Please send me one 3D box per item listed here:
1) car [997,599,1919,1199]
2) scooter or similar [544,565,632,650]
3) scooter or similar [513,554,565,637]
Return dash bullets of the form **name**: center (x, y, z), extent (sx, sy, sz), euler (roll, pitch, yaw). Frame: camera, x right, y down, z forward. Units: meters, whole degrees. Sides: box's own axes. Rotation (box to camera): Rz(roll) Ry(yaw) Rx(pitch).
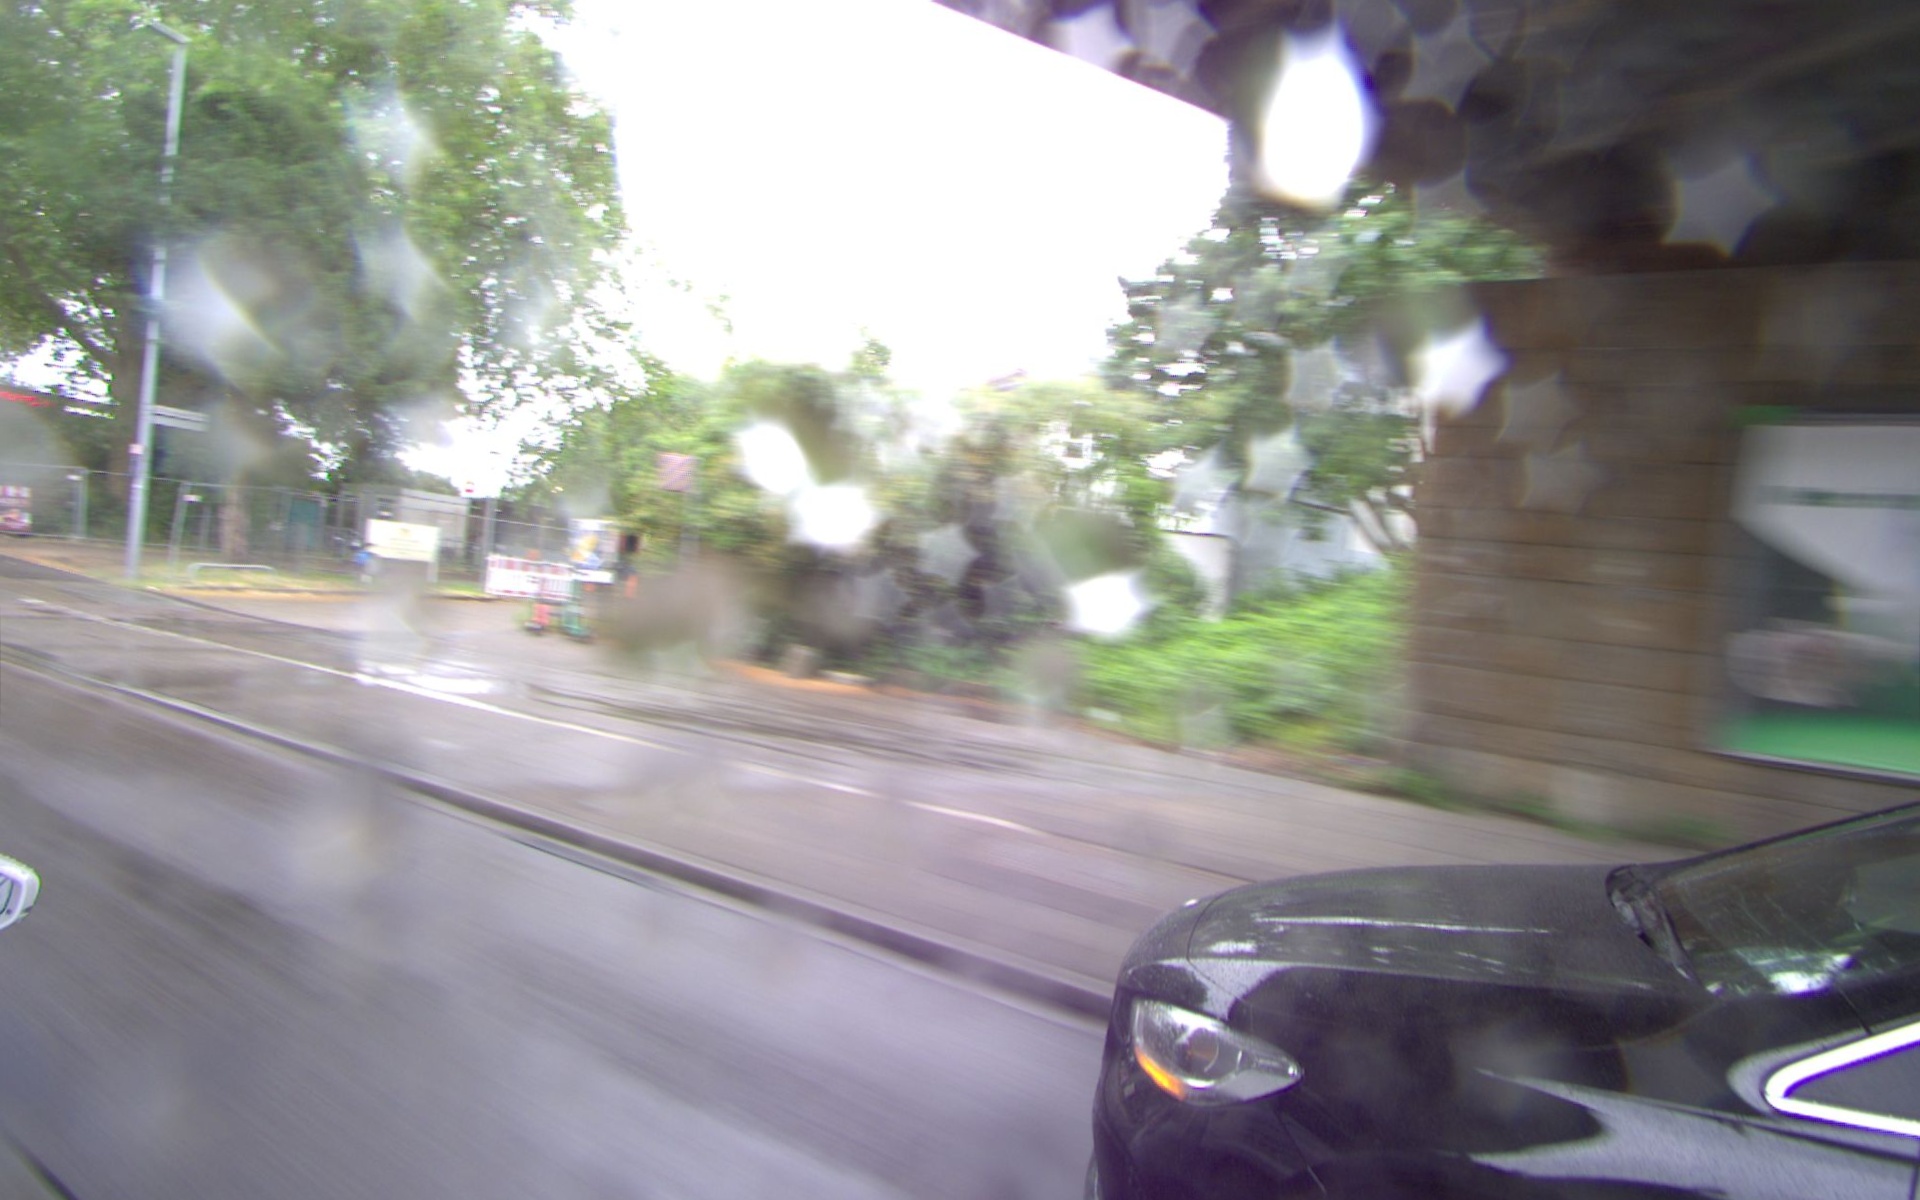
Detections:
- **car**: center (2.294, 1.039, 1.705), extent (4.018, 1.542, 1.873), euler (7, -1, 31)
- **scooter or similar**: center (-5.896, 0.104, 15.910), extent (0.766, 1.195, 1.529), euler (1, 4, -41)
- **scooter or similar**: center (-7.101, -0.096, 17.029), extent (0.699, 1.329, 1.551), euler (1, 3, -19)
